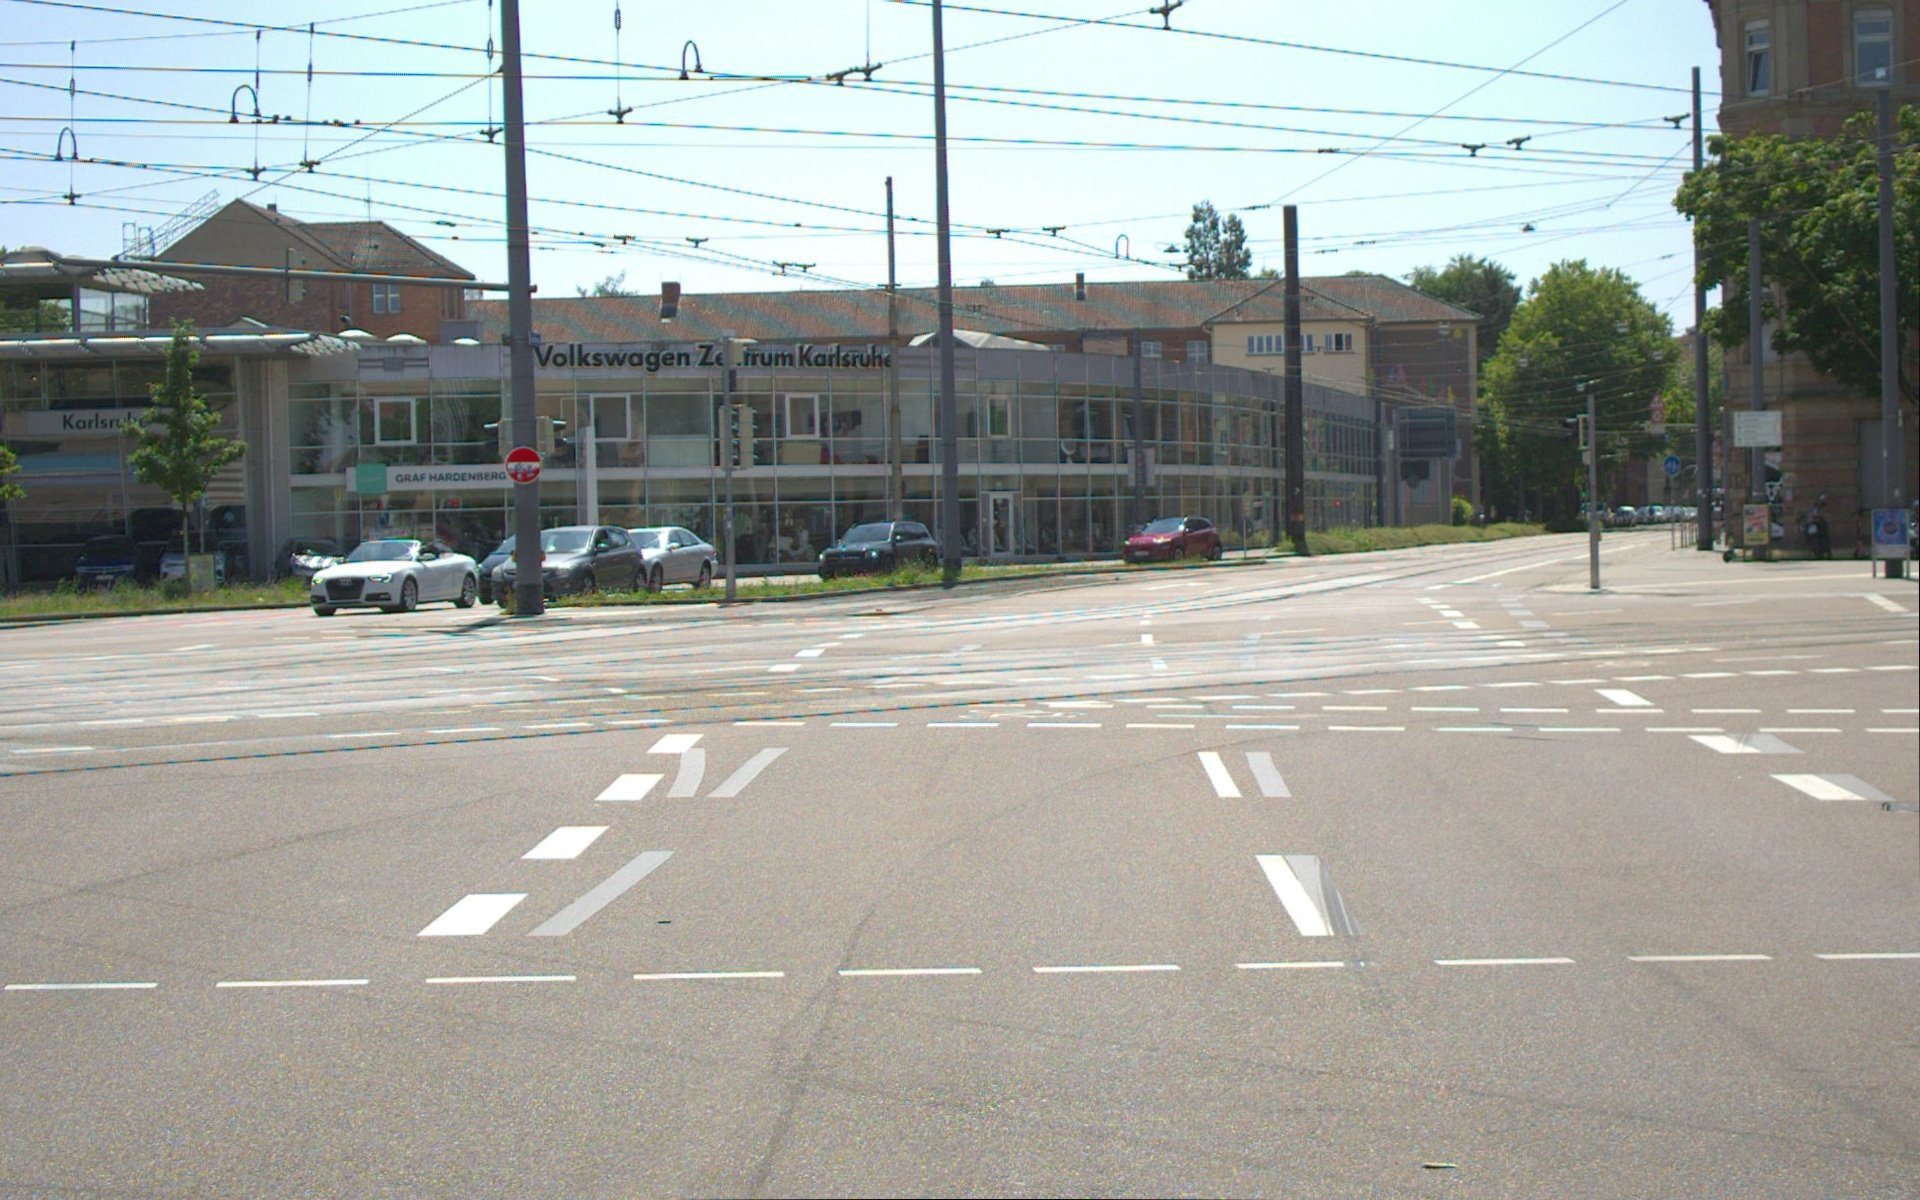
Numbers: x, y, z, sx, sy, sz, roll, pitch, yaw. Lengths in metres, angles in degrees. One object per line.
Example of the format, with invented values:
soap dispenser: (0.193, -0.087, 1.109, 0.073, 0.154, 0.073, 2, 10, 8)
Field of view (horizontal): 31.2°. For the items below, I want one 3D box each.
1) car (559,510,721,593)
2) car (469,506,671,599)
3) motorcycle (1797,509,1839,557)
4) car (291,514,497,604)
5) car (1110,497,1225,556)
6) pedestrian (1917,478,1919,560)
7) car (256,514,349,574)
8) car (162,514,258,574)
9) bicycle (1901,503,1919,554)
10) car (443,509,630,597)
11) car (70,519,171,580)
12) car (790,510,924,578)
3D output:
car: (-7.057, -1.108, 76.341, 1.995, 1.733, 4.540, -1, 1, 17)
car: (-7.261, -0.922, 64.570, 1.995, 1.631, 4.843, -1, 1, 17)
motorcycle: (19.732, -1.544, 79.109, 0.580, 1.071, 1.946, -1, 1, 3)
car: (-10.510, -0.798, 64.261, 2.078, 1.574, 4.844, -1, 1, 13)
car: (6.589, -2.316, 108.835, 1.997, 1.769, 3.993, 1, 1, 32)
pedestrian: (20.232, -1.692, 71.324, 0.460, 1.702, 0.640, -1, 1, -12)
car: (-19.142, -1.616, 100.170, 1.920, 1.701, 4.000, 1, 0, 0)
car: (-21.810, -1.614, 100.106, 1.920, 1.701, 4.000, 1, 0, 0)
bicycle: (22.193, -1.647, 79.578, 0.442, 1.142, 2.093, 1, 0, 6)
car: (-8.612, -0.991, 70.398, 1.995, 1.694, 4.843, -1, 1, 17)
car: (-24.392, -1.453, 100.024, 1.920, 1.701, 4.000, 1, 0, 0)
car: (-2.666, -1.483, 90.304, 2.080, 1.677, 4.843, -1, 1, 17)
